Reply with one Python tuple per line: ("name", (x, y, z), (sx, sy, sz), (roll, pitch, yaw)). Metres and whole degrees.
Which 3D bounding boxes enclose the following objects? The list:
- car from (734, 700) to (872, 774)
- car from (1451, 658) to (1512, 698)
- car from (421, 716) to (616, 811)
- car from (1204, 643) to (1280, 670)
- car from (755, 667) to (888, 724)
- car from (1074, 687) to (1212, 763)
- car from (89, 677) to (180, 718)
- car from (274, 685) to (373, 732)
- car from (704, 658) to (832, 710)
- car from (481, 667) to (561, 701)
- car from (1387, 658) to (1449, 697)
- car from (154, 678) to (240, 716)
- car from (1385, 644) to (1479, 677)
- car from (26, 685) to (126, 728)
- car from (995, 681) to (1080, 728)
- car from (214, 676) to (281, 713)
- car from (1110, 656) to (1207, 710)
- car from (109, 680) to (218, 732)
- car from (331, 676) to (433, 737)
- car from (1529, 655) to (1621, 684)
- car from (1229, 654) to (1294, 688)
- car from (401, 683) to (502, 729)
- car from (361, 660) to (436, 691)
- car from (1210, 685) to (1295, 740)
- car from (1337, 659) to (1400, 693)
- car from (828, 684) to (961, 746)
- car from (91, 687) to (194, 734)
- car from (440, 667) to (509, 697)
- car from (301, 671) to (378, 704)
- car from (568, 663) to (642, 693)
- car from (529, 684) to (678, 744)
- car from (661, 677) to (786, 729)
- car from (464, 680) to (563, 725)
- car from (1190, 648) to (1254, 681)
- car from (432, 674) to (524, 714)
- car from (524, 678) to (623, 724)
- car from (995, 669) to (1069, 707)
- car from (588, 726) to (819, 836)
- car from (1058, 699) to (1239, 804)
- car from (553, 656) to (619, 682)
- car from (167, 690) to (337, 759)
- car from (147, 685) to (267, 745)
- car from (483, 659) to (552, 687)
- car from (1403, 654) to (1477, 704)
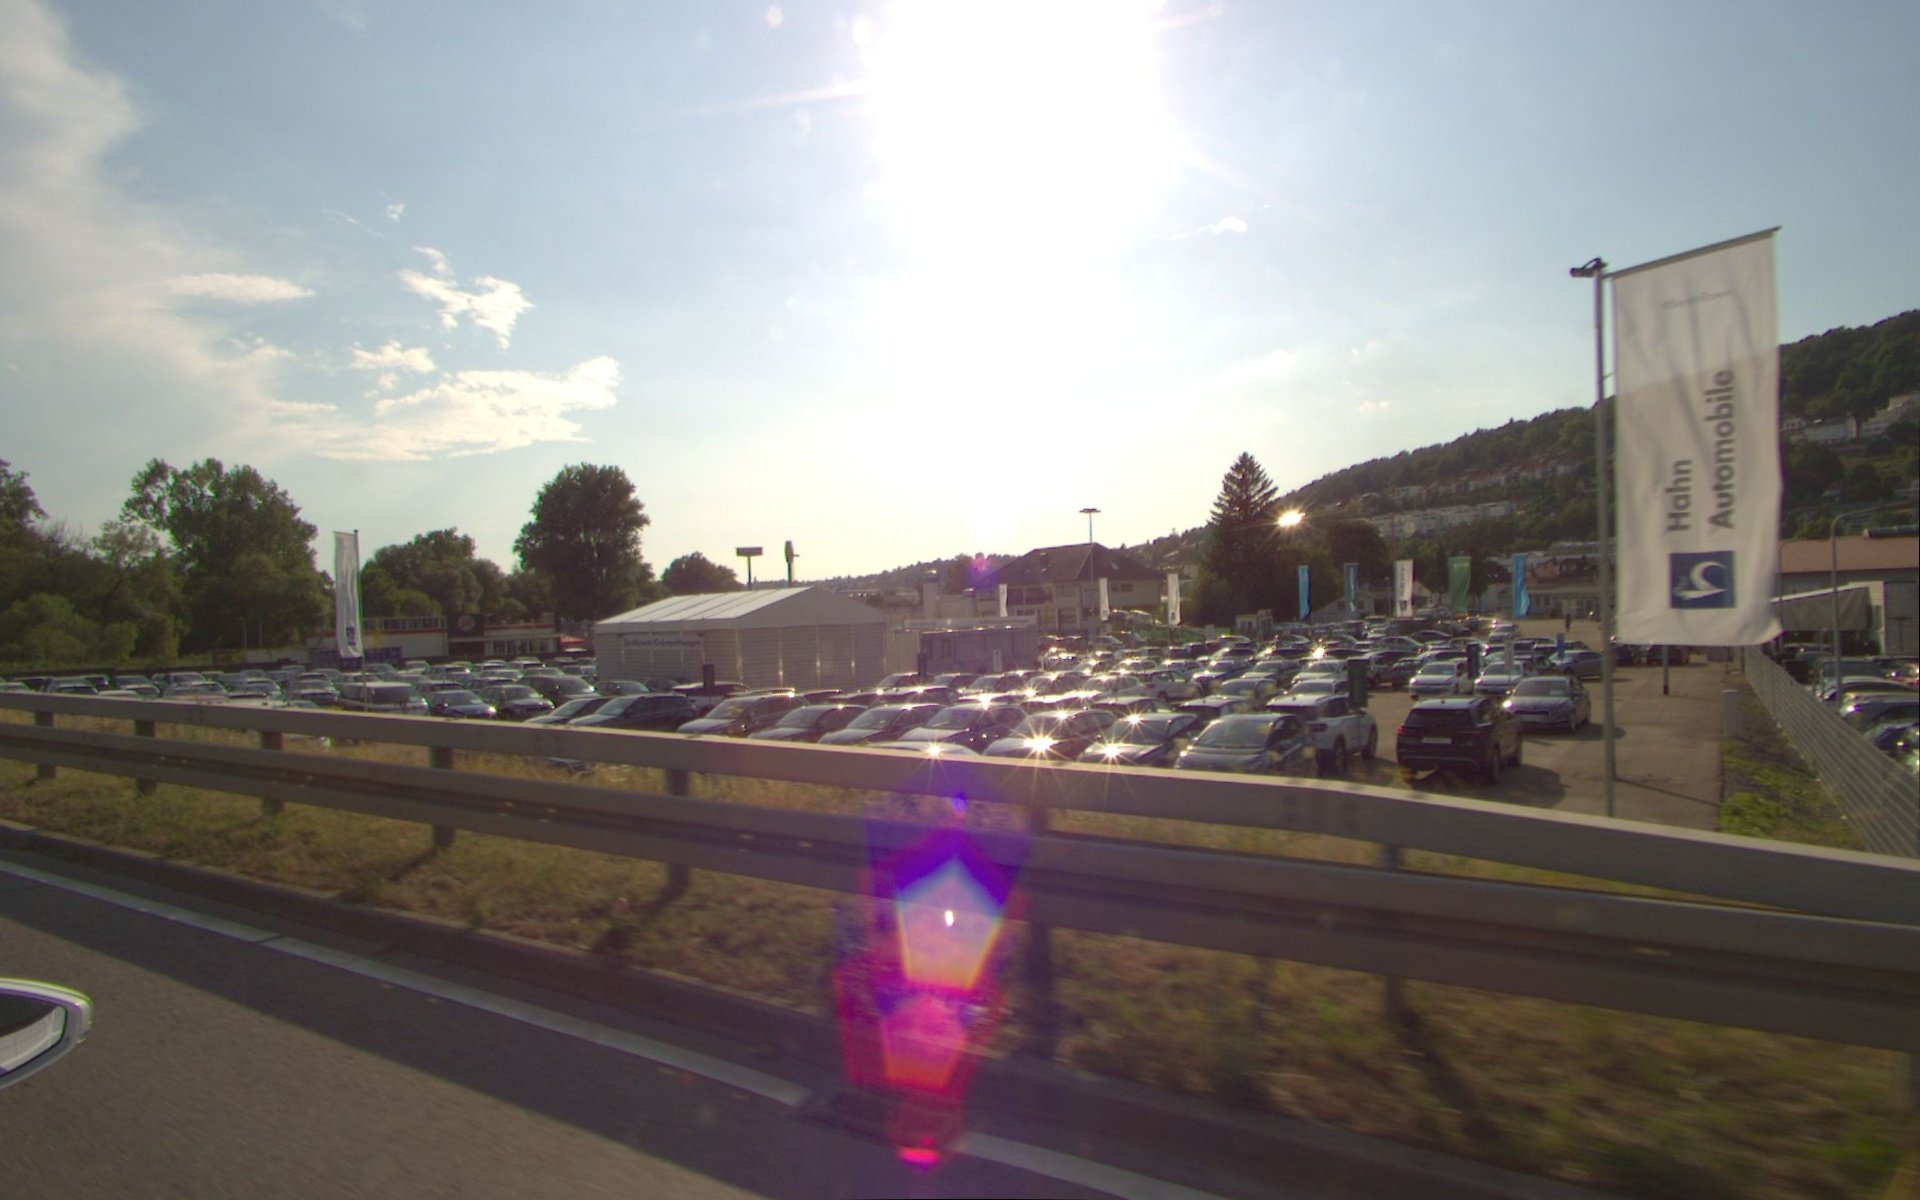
("car", (-4.115, 3.577, 26.622), (1.609, 1.594, 3.462), (-2, -3, 39))
("car", (23.833, 3.505, 45.707), (1.736, 1.661, 3.937), (-2, -3, 38))
("car", (-9.560, 3.447, 21.616), (4.249, 1.646, 1.735), (-2, -2, 31))
("car", (18.454, 3.664, 65.621), (4.355, 1.657, 1.886), (-1, -2, -8))
("car", (-4.635, 3.185, 34.043), (1.863, 1.656, 4.409), (-2, -3, 38))
("car", (5.097, 3.338, 27.429), (1.863, 1.656, 4.409), (-2, -3, 38))
("car", (-38.214, 4.464, 46.335), (4.599, 1.737, 1.833), (-2, -2, 30))
("car", (-25.870, 4.352, 40.653), (4.670, 1.656, 1.874), (-3, -3, 37))
("car", (-6.872, 2.982, 36.207), (1.863, 1.656, 4.409), (-2, -3, 38))
("car", (-23.553, 4.463, 53.701), (4.670, 1.656, 1.874), (-3, -3, 37))
("car", (21.577, 3.612, 47.088), (1.736, 1.661, 3.937), (-2, -3, 38))
("car", (-36.945, 4.668, 48.463), (4.664, 1.657, 1.876), (-2, -3, 33))
("car", (26.005, 3.316, 55.222), (4.355, 1.657, 1.886), (-1, -2, -8))
("car", (-39.047, 4.661, 44.221), (4.660, 1.671, 1.997), (-2, -2, 30))
("car", (3.056, 4.011, 38.988), (1.609, 1.594, 3.462), (-2, -3, 39))
("car", (-36.340, 4.773, 51.045), (3.951, 1.705, 1.769), (-3, -3, 38))
("car", (8.247, 3.380, 41.443), (3.961, 2.039, 1.982), (1, -3, -43))
("car", (-29.145, 3.816, 36.596), (4.667, 1.656, 1.875), (-3, -3, 35))
("car", (-21.217, 3.833, 36.702), (4.677, 1.955, 1.871), (-3, -3, 41))
("car", (30.537, 3.436, 49.730), (3.927, 1.304, 1.620), (0, -2, -15))
("car", (15.693, 3.656, 52.026), (1.738, 1.661, 3.932), (-3, -3, 42))
("car", (-19.504, 4.000, 38.314), (4.677, 1.541, 1.871), (-3, -3, 41))
("car", (-31.975, 4.265, 56.998), (4.666, 1.657, 1.875), (-3, -3, 34))
("car", (10.133, 3.831, 34.522), (1.609, 1.594, 3.462), (-2, -3, 39))
("car", (19.986, 3.683, 48.939), (1.809, 1.521, 3.972), (-2, -3, 38))
("car", (-2.044, 3.685, 32.615), (1.863, 1.656, 4.409), (-2, -3, 38))
("car", (-33.160, 4.421, 40.580), (4.663, 1.657, 1.877), (-2, -2, 32))
("car", (-29.637, 4.974, 61.109), (4.669, 1.656, 1.874), (-3, -3, 36))
("car", (-33.531, 4.678, 54.105), (4.667, 1.656, 1.875), (-3, -3, 35))
("car", (-20.573, 4.481, 57.943), (4.515, 1.656, 1.874), (-3, -3, 37))
("car", (-11.839, 3.747, 33.497), (1.863, 1.656, 4.409), (-2, -3, 38))
("car", (-8.821, 3.810, 37.660), (1.863, 1.656, 4.409), (-2, -3, 38))
("car", (-17.904, 4.049, 40.047), (4.677, 1.541, 1.871), (-3, -3, 41))
("car", (14.224, 3.446, 54.199), (1.738, 1.661, 3.932), (-3, -3, 42))
("car", (-22.106, 4.265, 45.874), (4.670, 1.656, 1.874), (-3, -3, 37))
("car", (-15.964, 4.101, 41.256), (4.677, 1.656, 1.871), (-3, -3, 41))
("car", (3.412, 4.081, 46.982), (1.613, 1.594, 3.454), (-3, -3, 45))
("car", (-4.943, 3.370, 19.149), (4.246, 1.646, 1.736), (-2, -2, 29))
("car", (4.030, 3.041, 20.875), (1.863, 1.656, 4.409), (-2, -3, 38))
("car", (-24.909, 4.590, 66.620), (4.669, 1.656, 1.874), (-3, -3, 36))
("car", (-19.556, 3.375, 27.643), (4.655, 1.646, 1.880), (-2, -2, 27))
("car", (-24.404, 3.659, 32.386), (4.670, 1.646, 1.874), (-3, -3, 37))
("car", (-27.602, 4.525, 62.421), (4.669, 1.656, 1.874), (-3, -3, 36))
("car", (19.991, 3.243, 41.626), (1.903, 1.883, 3.972), (-2, -3, 38))
